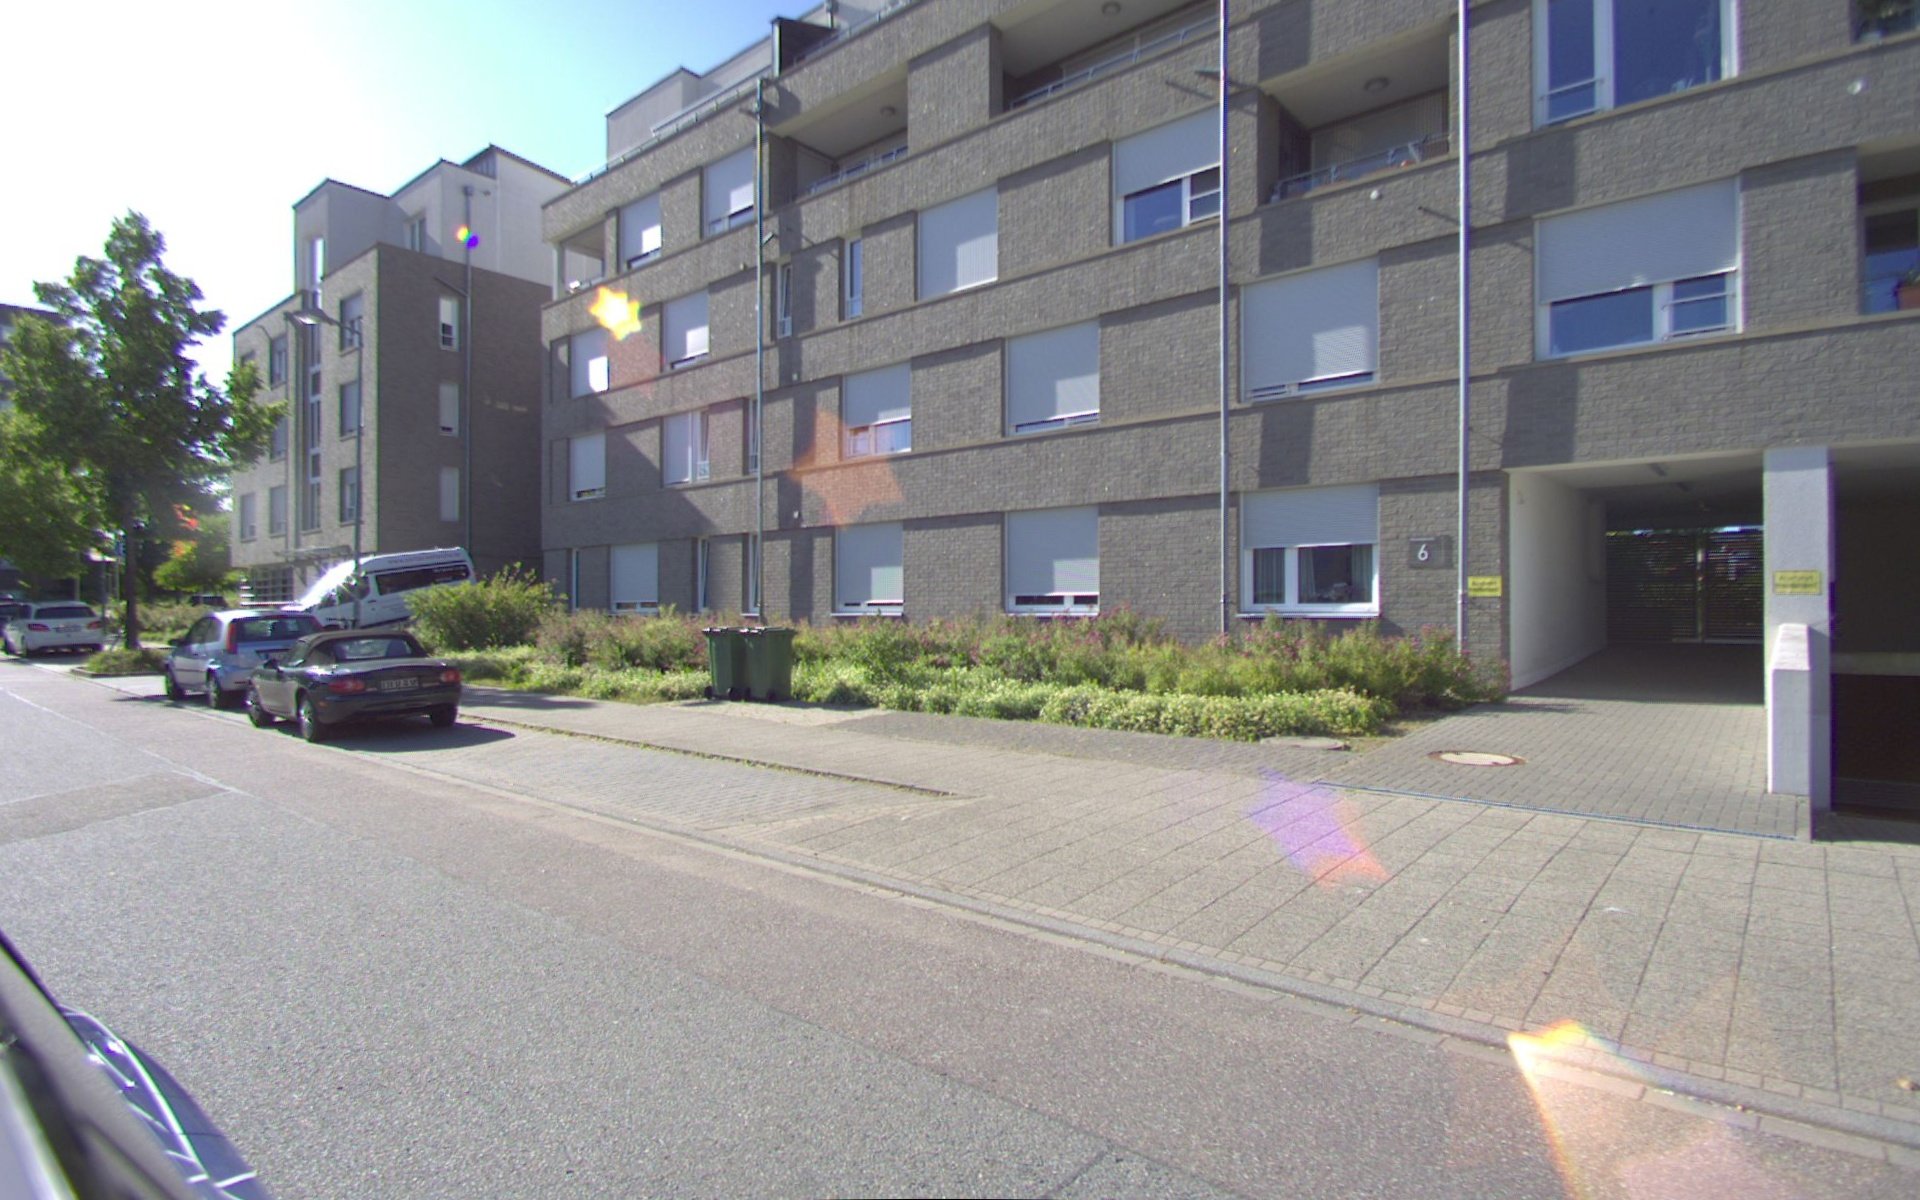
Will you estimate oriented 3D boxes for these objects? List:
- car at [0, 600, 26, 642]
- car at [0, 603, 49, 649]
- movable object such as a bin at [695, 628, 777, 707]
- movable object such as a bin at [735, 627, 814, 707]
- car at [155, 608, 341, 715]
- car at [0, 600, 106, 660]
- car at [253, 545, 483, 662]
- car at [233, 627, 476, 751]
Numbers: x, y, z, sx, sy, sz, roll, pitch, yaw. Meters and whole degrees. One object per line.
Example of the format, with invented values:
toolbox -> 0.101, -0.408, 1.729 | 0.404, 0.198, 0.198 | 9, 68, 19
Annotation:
car -> -37.194, 0.797, 38.547 | 3.885, 1.529, 1.774 | -1, 0, 38
car -> -33.269, 0.883, 35.168 | 3.885, 1.529, 1.774 | -1, 0, 38
movable object such as a bin -> -3.280, 0.971, 14.851 | 0.680, 1.045, 0.910 | -1, 2, 38
movable object such as a bin -> -2.648, 0.938, 14.463 | 0.677, 1.045, 0.852 | -1, 2, 38
car -> -11.565, 0.907, 16.366 | 3.560, 1.536, 1.610 | -1, -1, 40
car -> -26.475, 0.837, 29.425 | 3.885, 1.611, 1.774 | -1, 0, 38
car -> -16.101, 0.129, 27.810 | 2.011, 2.924, 5.092 | -1, -1, 37
car -> -7.666, 1.005, 12.693 | 3.561, 1.257, 1.610 | -1, 0, 42
